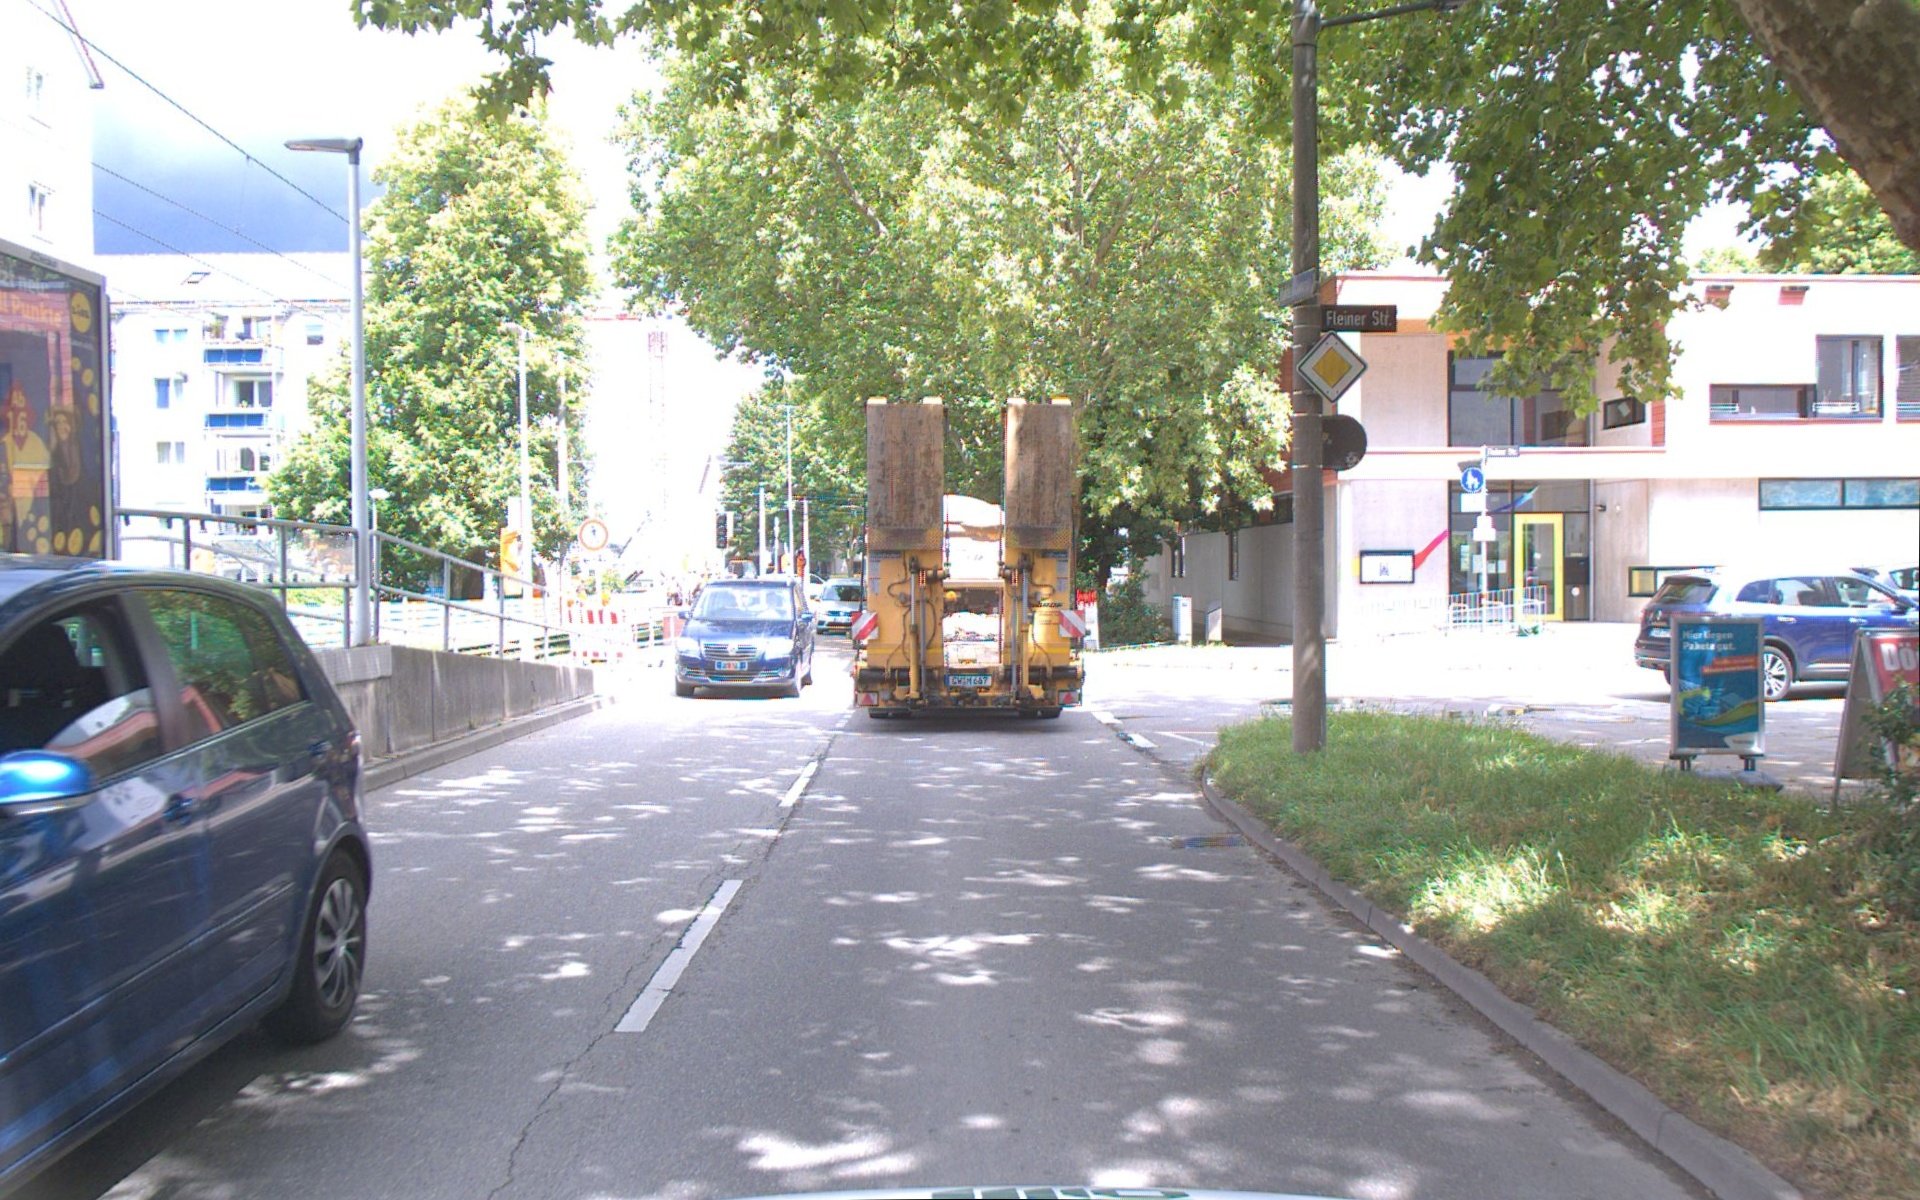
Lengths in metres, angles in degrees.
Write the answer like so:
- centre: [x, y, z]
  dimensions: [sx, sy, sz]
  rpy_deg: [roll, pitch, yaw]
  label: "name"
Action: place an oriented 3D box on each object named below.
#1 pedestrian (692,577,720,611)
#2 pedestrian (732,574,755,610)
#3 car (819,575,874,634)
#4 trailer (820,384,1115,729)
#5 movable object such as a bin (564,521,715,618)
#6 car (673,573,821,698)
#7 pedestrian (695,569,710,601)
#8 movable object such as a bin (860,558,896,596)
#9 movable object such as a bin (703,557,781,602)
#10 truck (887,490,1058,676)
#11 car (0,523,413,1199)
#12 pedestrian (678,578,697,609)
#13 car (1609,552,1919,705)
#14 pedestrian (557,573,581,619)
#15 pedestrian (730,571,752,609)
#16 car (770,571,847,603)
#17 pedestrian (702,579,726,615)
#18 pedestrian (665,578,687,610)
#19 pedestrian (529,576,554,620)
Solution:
- centre: [-12.995, -0.315, 84.532]
  dimensions: [0.873, 1.745, 1.103]
  rpy_deg: [1, 0, 45]
  label: "pedestrian"
- centre: [-11.356, -0.432, 86.750]
  dimensions: [0.868, 1.900, 0.836]
  rpy_deg: [1, 0, 28]
  label: "pedestrian"
- centre: [-3.716, 0.145, 54.751]
  dimensions: [1.718, 1.873, 4.643]
  rpy_deg: [0, 0, -3]
  label: "car"
- centre: [0.168, -0.491, 22.968]
  dimensions: [3.089, 3.614, 11.098]
  rpy_deg: [0, 0, 1]
  label: "trailer"
- centre: [-18.965, -1.791, 97.708]
  dimensions: [9.020, 5.509, 2.662]
  rpy_deg: [0, 0, 26]
  label: "movable object such as a bin"
- centre: [-3.036, 0.472, 24.335]
  dimensions: [1.718, 1.662, 4.118]
  rpy_deg: [1, 0, -2]
  label: "car"
- centre: [-15.302, -0.896, 98.439]
  dimensions: [0.820, 1.900, 0.885]
  rpy_deg: [0, 0, -13]
  label: "pedestrian"
- centre: [-4.431, -1.240, 89.466]
  dimensions: [1.369, 2.049, 2.558]
  rpy_deg: [0, 0, 10]
  label: "movable object such as a bin"
- centre: [-13.491, -1.264, 102.296]
  dimensions: [4.280, 2.675, 2.218]
  rpy_deg: [0, 0, 26]
  label: "movable object such as a bin"
- centre: [0.302, -0.321, 32.489]
  dimensions: [2.927, 3.190, 7.889]
  rpy_deg: [0, 0, 1]
  label: "truck"
- centre: [-2.784, 0.644, 4.074]
  dimensions: [1.662, 1.592, 3.860]
  rpy_deg: [0, 0, -1]
  label: "car"
- centre: [-14.634, -0.343, 88.770]
  dimensions: [0.873, 1.673, 0.831]
  rpy_deg: [0, 0, -23]
  label: "pedestrian"
- centre: [11.062, 0.324, 21.923]
  dimensions: [4.102, 1.711, 2.009]
  rpy_deg: [-3, 2, -9]
  label: "car"
- centre: [-14.844, -0.152, 62.775]
  dimensions: [0.685, 1.748, 0.867]
  rpy_deg: [0, 0, -1]
  label: "pedestrian"
- centre: [-11.132, -0.513, 84.108]
  dimensions: [0.876, 1.900, 0.829]
  rpy_deg: [0, 0, -30]
  label: "pedestrian"
- centre: [-10.514, -0.887, 114.649]
  dimensions: [5.005, 2.139, 1.969]
  rpy_deg: [1, 0, -15]
  label: "car"
- centre: [-12.274, -0.139, 82.560]
  dimensions: [0.867, 1.791, 0.837]
  rpy_deg: [1, 0, 20]
  label: "pedestrian"
- centre: [-14.834, -0.309, 86.315]
  dimensions: [0.876, 1.673, 0.890]
  rpy_deg: [0, 0, -31]
  label: "pedestrian"
- centre: [-15.724, -0.082, 62.214]
  dimensions: [0.717, 1.654, 0.867]
  rpy_deg: [0, 0, -1]
  label: "pedestrian"
